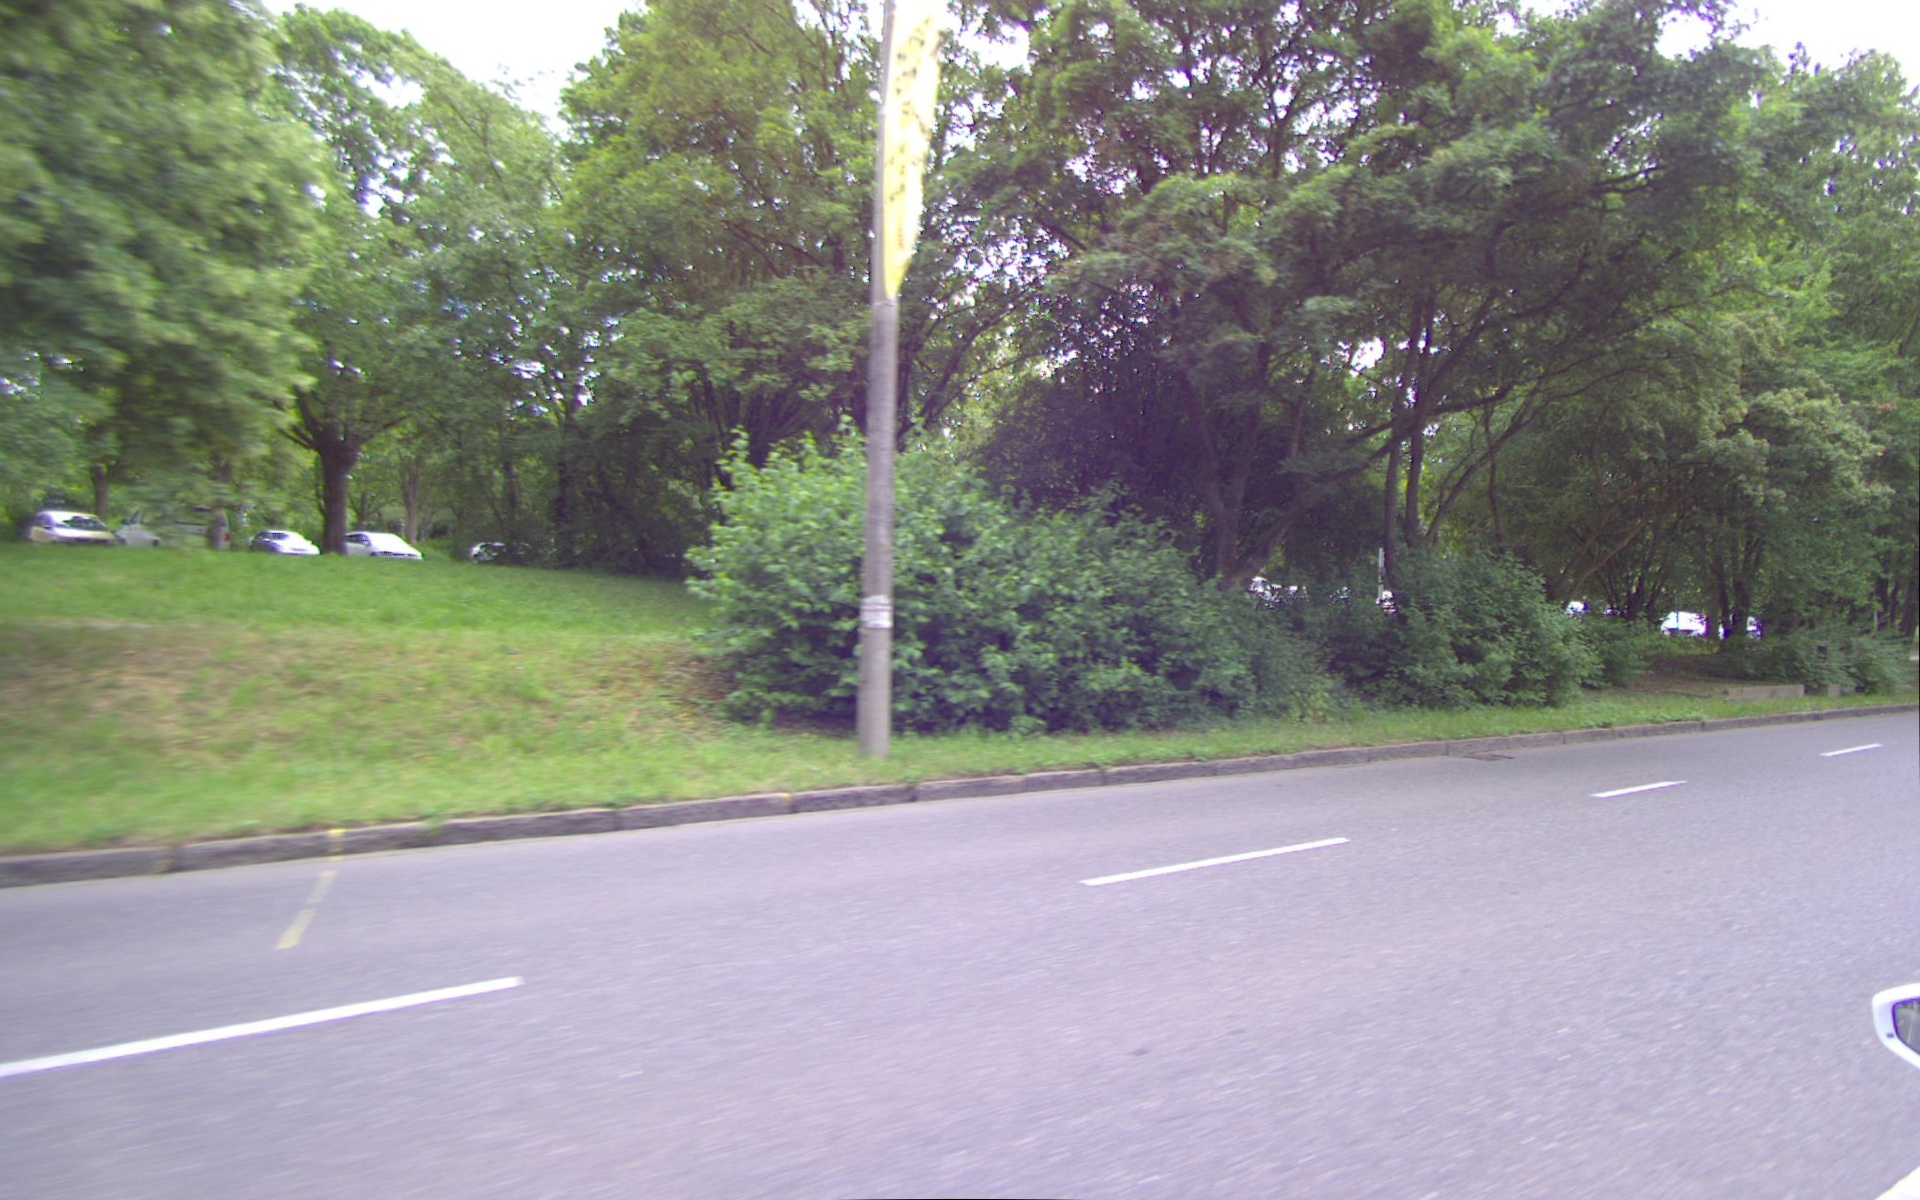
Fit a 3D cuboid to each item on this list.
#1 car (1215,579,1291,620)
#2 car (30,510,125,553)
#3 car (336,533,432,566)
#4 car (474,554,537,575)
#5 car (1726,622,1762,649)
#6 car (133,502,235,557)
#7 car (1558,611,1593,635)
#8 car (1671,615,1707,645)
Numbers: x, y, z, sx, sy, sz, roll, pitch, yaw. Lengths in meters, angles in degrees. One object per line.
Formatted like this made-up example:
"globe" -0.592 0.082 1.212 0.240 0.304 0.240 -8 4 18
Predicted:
"car" 11.538 0.019 39.417 1.624 1.506 3.986 2 0 36
"car" -28.429 -2.172 32.347 3.448 1.226 1.396 2 0 32
"car" -23.458 -2.036 40.874 3.920 1.226 1.897 2 0 35
"car" -28.255 -2.197 62.430 3.920 1.226 1.897 2 0 35
"car" 39.969 1.780 51.212 1.354 1.255 3.058 4 1 38
"car" -26.818 -2.367 34.670 4.048 1.706 1.748 2 0 37
"car" 33.881 1.242 55.286 1.247 1.228 3.058 4 1 38
"car" 37.971 1.536 52.266 1.354 1.420 3.058 4 1 38
